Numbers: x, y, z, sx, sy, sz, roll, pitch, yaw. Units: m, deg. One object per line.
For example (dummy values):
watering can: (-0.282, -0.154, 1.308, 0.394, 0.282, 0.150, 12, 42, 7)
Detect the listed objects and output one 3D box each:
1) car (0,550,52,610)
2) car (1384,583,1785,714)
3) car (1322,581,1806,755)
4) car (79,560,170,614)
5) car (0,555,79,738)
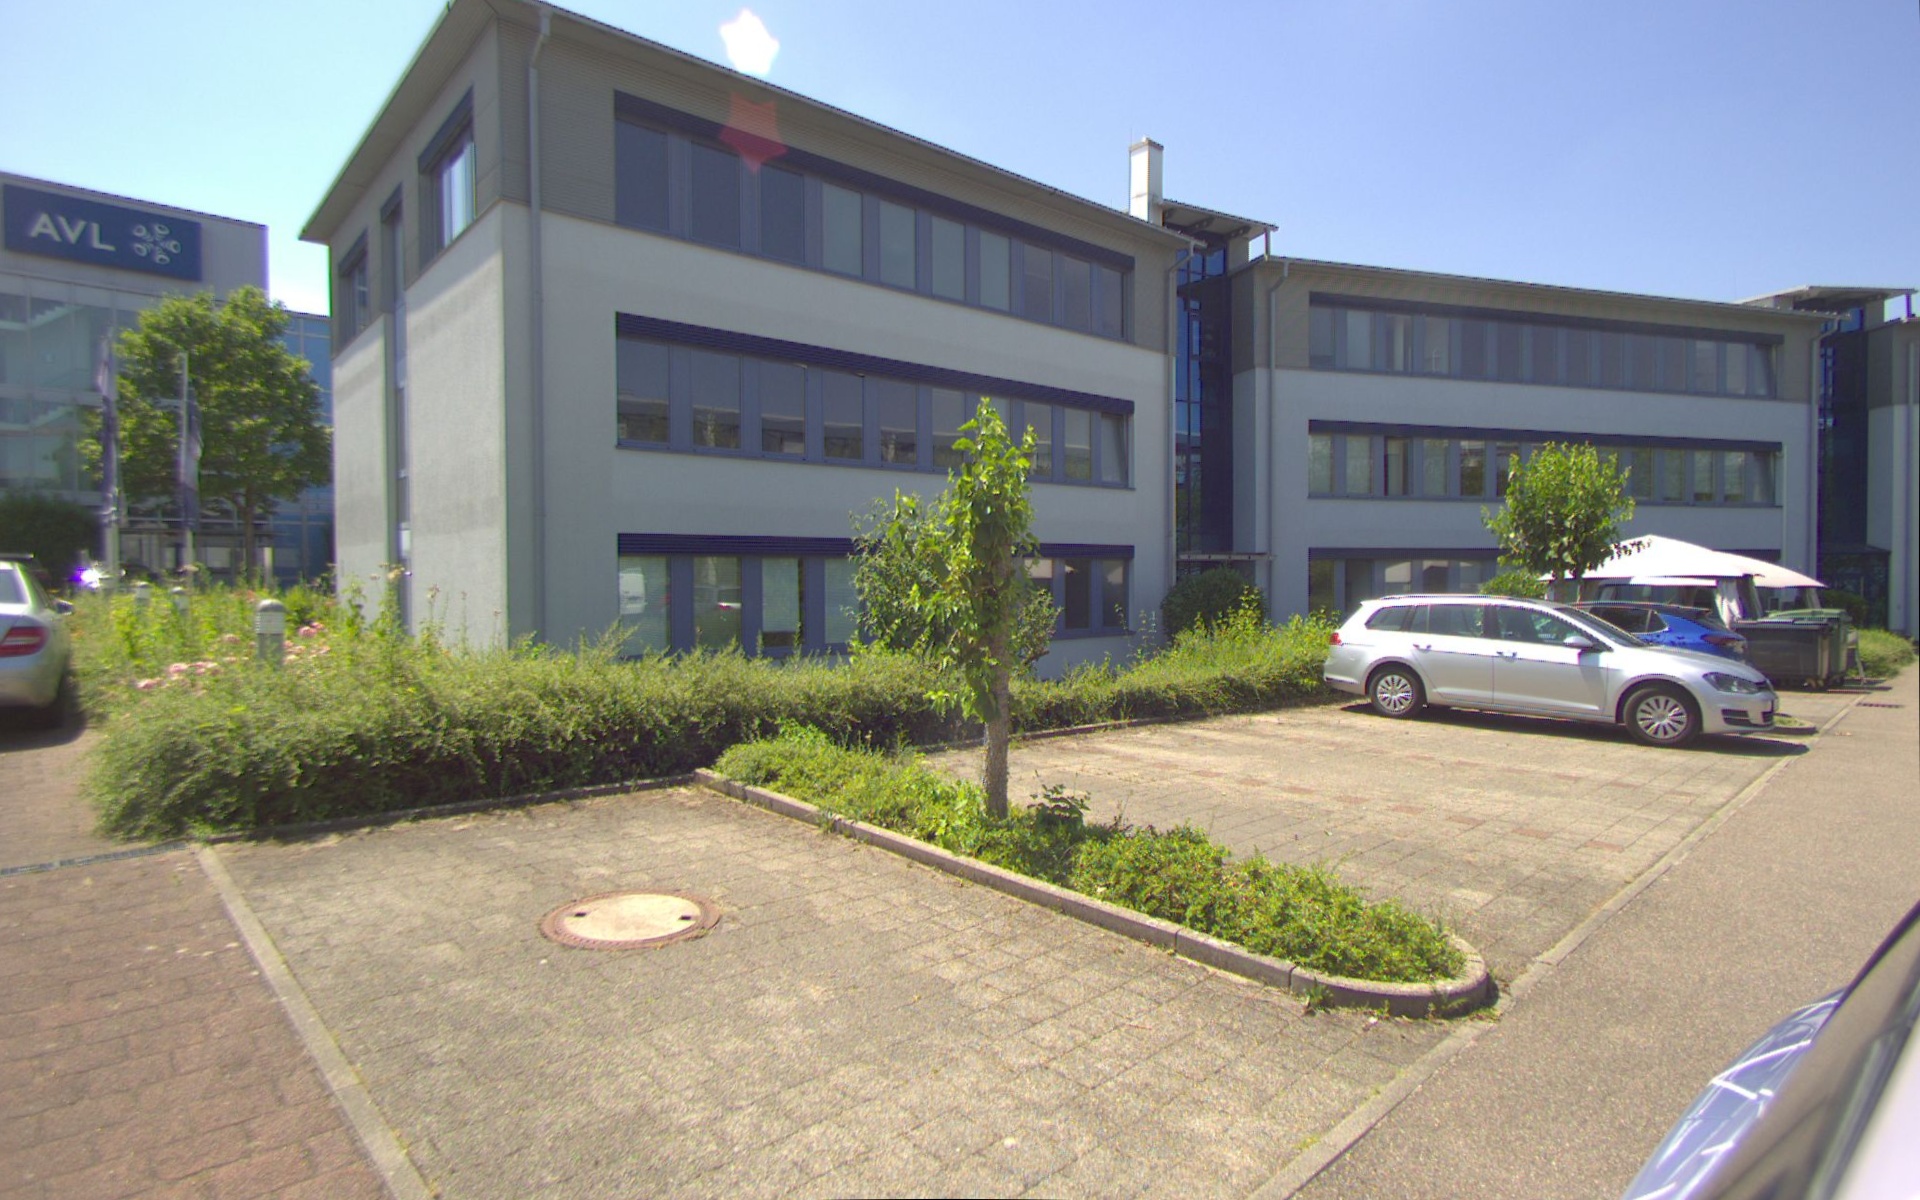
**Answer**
car: (-27.423, -0.620, 28.986, 3.975, 1.630, 1.902, 3, 2, 45)
car: (8.782, 0.556, 14.564, 1.826, 1.512, 4.602, 0, 2, -44)
car: (6.660, 0.592, 11.543, 1.826, 1.538, 4.417, 0, 2, -44)
car: (-25.716, -0.444, 31.108, 4.247, 1.500, 1.747, 3, 3, 45)
car: (-9.185, 0.322, 9.156, 1.774, 1.415, 4.413, -1, 2, -40)
